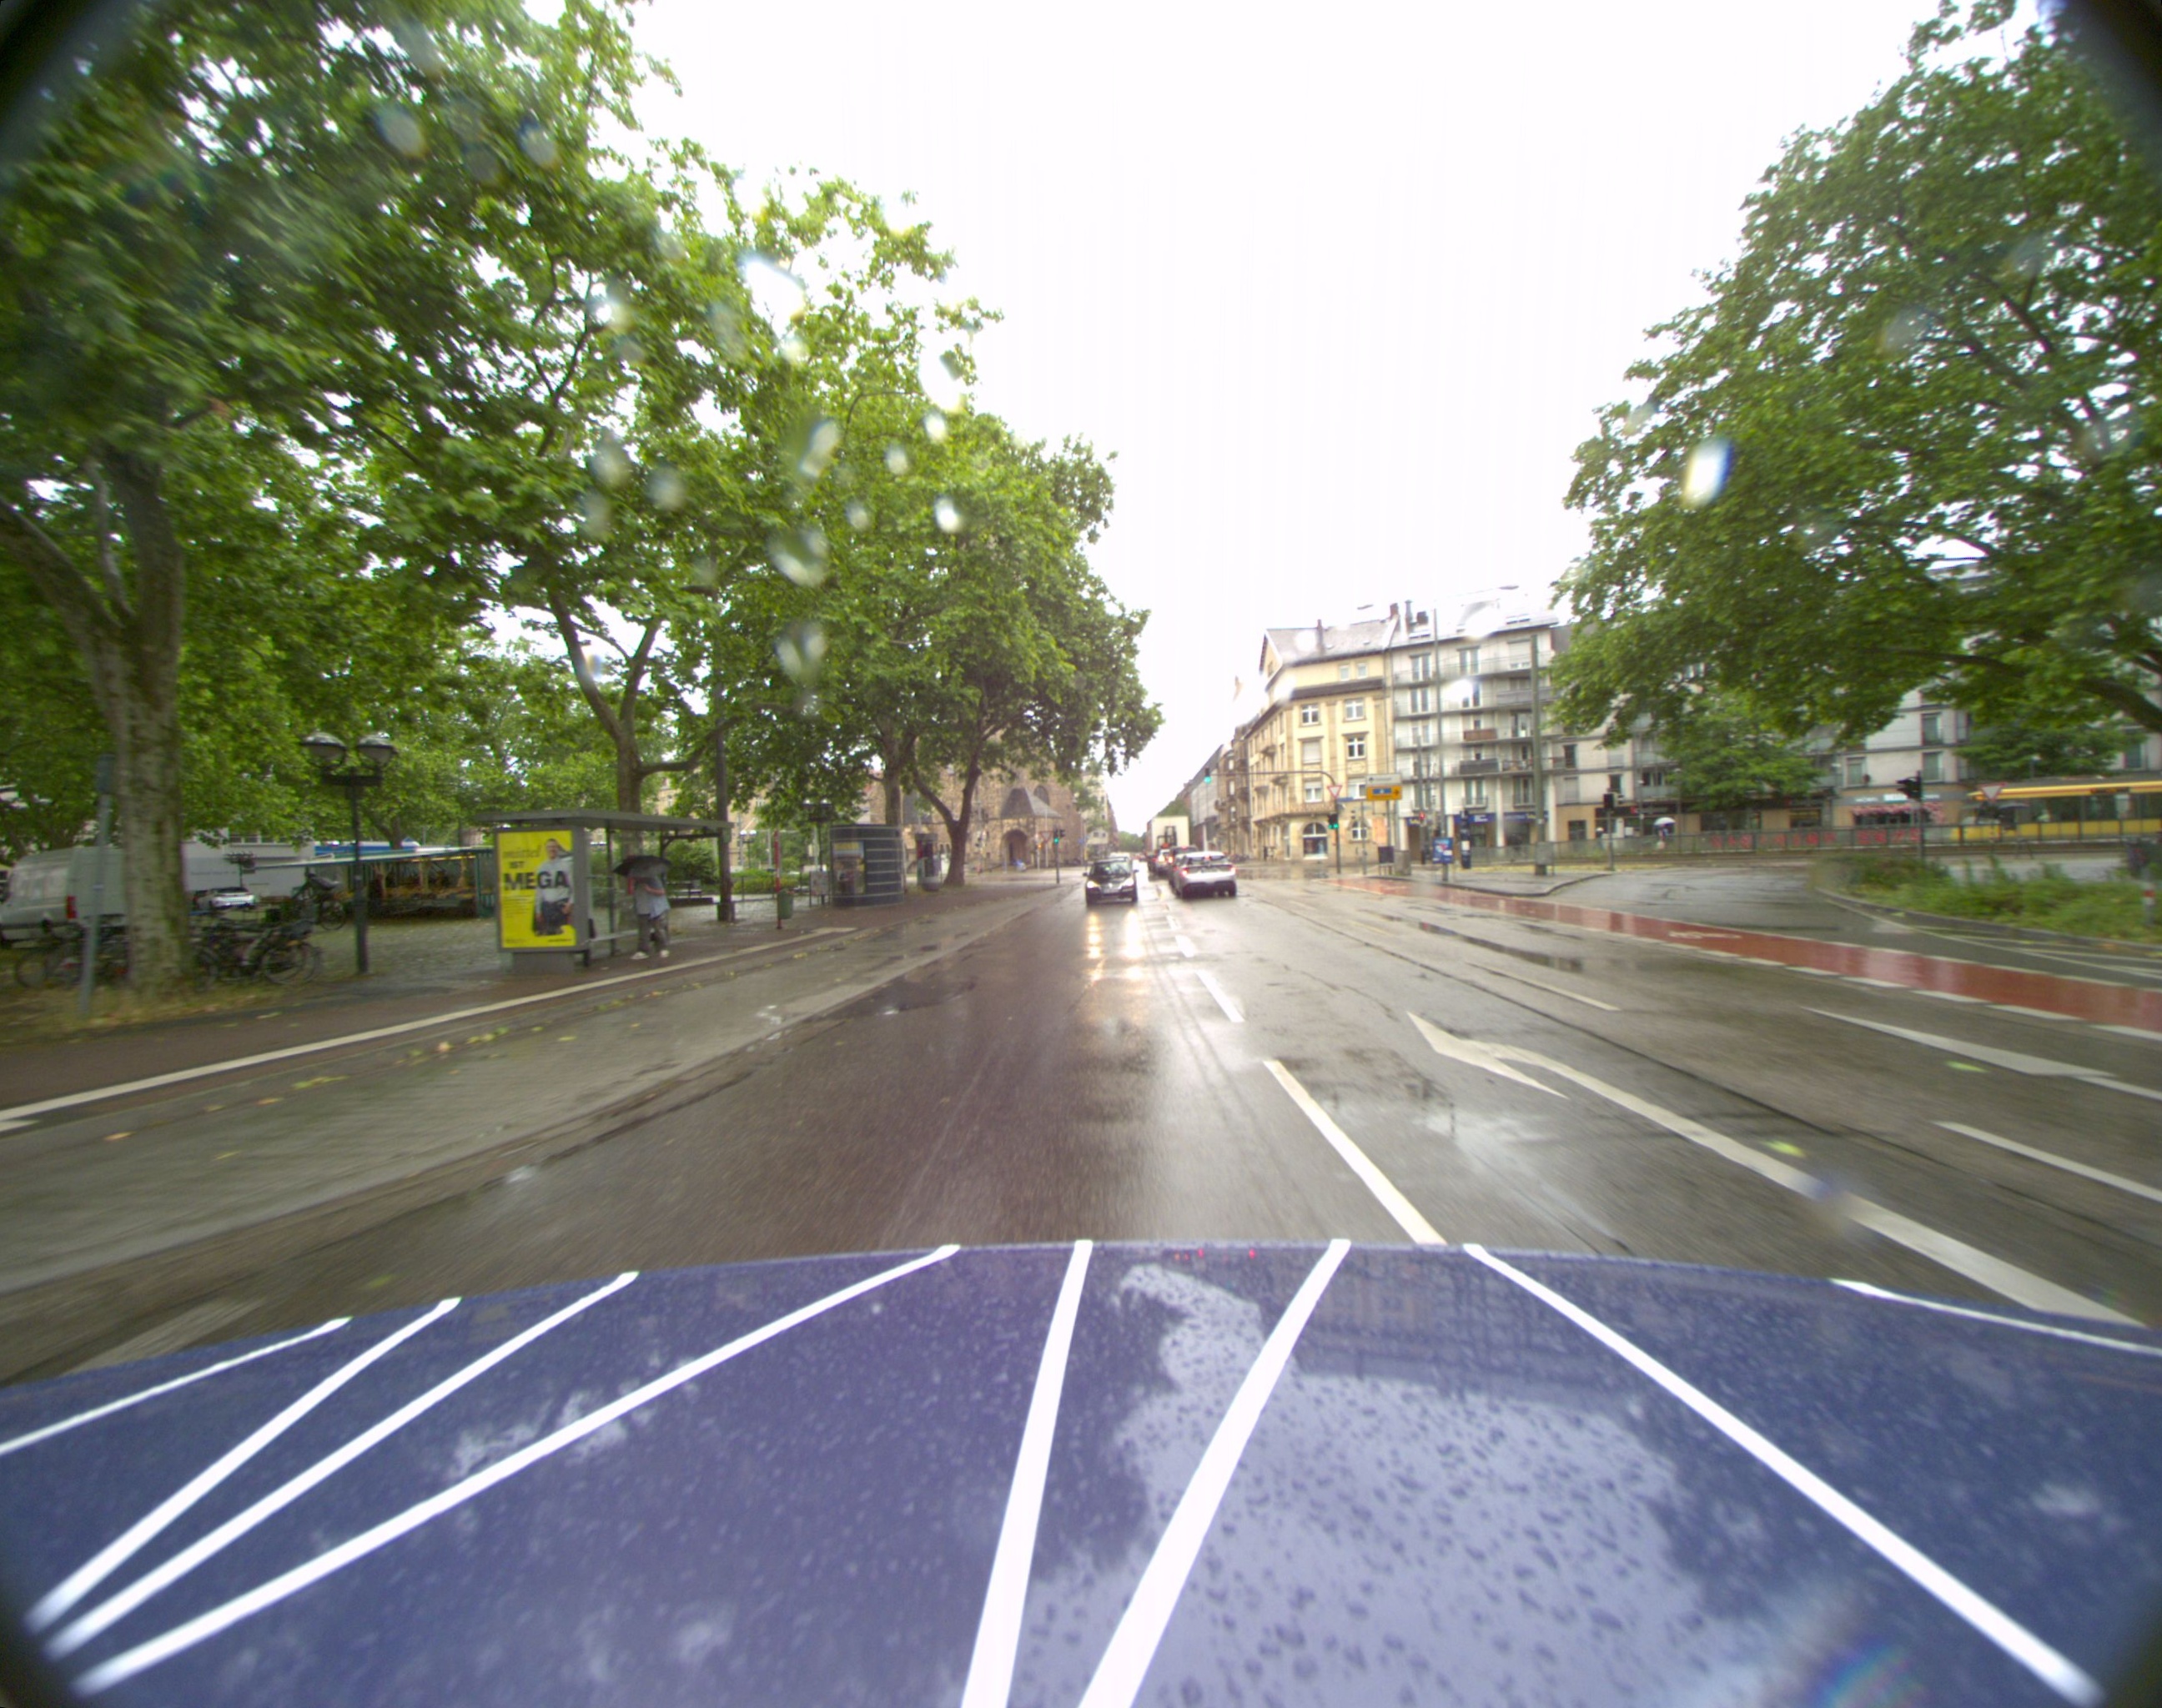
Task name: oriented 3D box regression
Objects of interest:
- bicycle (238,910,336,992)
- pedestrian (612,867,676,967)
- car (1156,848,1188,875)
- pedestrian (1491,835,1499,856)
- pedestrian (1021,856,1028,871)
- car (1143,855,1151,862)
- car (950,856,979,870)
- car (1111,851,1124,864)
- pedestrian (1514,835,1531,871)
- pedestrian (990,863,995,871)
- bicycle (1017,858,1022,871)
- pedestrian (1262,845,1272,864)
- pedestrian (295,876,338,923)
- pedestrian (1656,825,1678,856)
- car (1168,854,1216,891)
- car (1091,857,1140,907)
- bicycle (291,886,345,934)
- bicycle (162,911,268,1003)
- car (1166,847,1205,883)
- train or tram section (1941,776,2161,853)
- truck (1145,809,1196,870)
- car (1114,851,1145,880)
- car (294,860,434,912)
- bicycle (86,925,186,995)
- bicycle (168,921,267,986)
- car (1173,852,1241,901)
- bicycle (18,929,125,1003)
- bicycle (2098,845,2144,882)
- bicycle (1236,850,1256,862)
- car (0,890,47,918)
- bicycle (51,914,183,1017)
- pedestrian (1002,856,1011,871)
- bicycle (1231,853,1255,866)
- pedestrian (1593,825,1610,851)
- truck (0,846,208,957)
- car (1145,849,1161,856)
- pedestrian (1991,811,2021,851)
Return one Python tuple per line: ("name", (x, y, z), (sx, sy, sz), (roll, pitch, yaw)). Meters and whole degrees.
("bicycle", (-12.523, 1.494, 11.978), (1.762, 1.188, 0.500), (-2, 1, 25))
("pedestrian", (-7.671, 1.084, 13.366), (0.719, 1.659, 0.664), (-2, 1, -9))
("car", (5.654, 0.449, 47.564), (1.746, 1.595, 4.001), (-2, 0, 5))
("pedestrian", (35.769, -0.728, 65.655), (0.610, 1.770, 0.500), (-2, 1, 29))
("pedestrian", (-6.411, 1.039, 86.292), (0.604, 1.653, 0.689), (-2, 0, 7))
("car", (14.701, 1.074, 170.065), (1.747, 1.537, 3.780), (-1, 0, 5))
("car", (-14.837, 1.145, 96.792), (1.732, 1.565, 3.363), (-2, 3, 30))
("car", (5.745, 0.478, 119.229), (1.908, 1.911, 5.274), (-1, 0, 4))
("pedestrian", (25.775, -0.075, 44.365), (0.701, 2.065, 0.638), (-2, 0, 23))
("pedestrian", (-10.614, 1.576, 91.409), (0.455, 0.879, 0.397), (-2, 0, 24))
("bicycle", (-6.970, 1.198, 86.337), (0.533, 1.458, 1.939), (-2, 0, -6))
("pedestrian", (19.420, 0.033, 79.493), (0.919, 1.955, 0.701), (-2, 3, 15))
("pedestrian", (-23.651, 1.376, 23.502), (1.044, 1.390, 0.748), (-1, 1, 36))
("pedestrian", (31.846, -0.738, 41.293), (0.815, 1.639, 0.795), (-1, 1, 27))
("car", (4.896, 0.769, 34.020), (1.746, 1.381, 4.363), (-3, 1, 5))
("car", (1.267, 0.921, 26.815), (1.547, 1.553, 4.072), (-1, 0, 4))
("bicycle", (-23.576, 1.685, 23.457), (2.699, 1.369, 0.753), (-1, 1, 36))
("bicycle", (-12.955, 1.500, 11.359), (1.836, 1.250, 0.526), (-2, 1, 25))
("car", (5.751, 0.566, 42.181), (1.810, 1.851, 4.110), (-2, 0, 5))
("train or tram section", (51.668, -1.977, 37.679), (11.548, 3.483, 3.078), (-2, 1, 28))
("truck", (6.467, -0.987, 56.206), (2.852, 4.002, 10.317), (-1, 0, 2))
("car", (3.110, 0.711, 48.353), (1.810, 1.683, 4.110), (-2, 0, 5))
("car", (-30.627, 1.321, 32.566), (1.950, 2.002, 3.876), (-2, 0, 30))
("bicycle", (-15.115, 1.659, 12.139), (2.253, 0.963, 0.535), (-2, 1, 27))
("bicycle", (-14.686, 1.656, 12.907), (2.283, 0.977, 0.546), (-2, 1, 27))
("car", (4.273, 0.731, 26.386), (1.849, 1.501, 4.056), (-2, 0, 3))
("bicycle", (-15.402, 1.667, 11.582), (2.248, 0.963, 0.586), (-2, 1, 27))
("bicycle", (28.086, 0.241, 20.539), (2.321, 0.864, 0.637), (-4, 1, -38))
("bicycle", (18.049, 0.223, 83.036), (2.062, 1.338, 0.585), (-2, 0, -1))
("car", (-61.779, 2.861, 44.057), (3.989, 1.444, 1.680), (-2, 1, 30))
("bicycle", (-13.307, 1.494, 10.487), (1.836, 1.250, 0.712), (-2, 1, 26))
("pedestrian", (-8.766, 1.111, 89.519), (0.676, 1.693, 0.635), (-2, 1, 42))
("bicycle", (17.631, 0.569, 82.676), (2.346, 1.338, 0.640), (-2, 0, -1))
("pedestrian", (34.157, -1.043, 49.841), (0.754, 1.639, 0.839), (-1, 1, 24))
("truck", (-27.151, 1.243, 20.957), (6.385, 2.684, 2.271), (-2, 1, 25))
("car", (20.615, -0.449, 217.458), (3.808, 1.705, 1.995), (-1, 0, -30))
("pedestrian", (42.819, -1.044, 35.188), (0.678, 1.828, 0.641), (-1, 1, 27))
